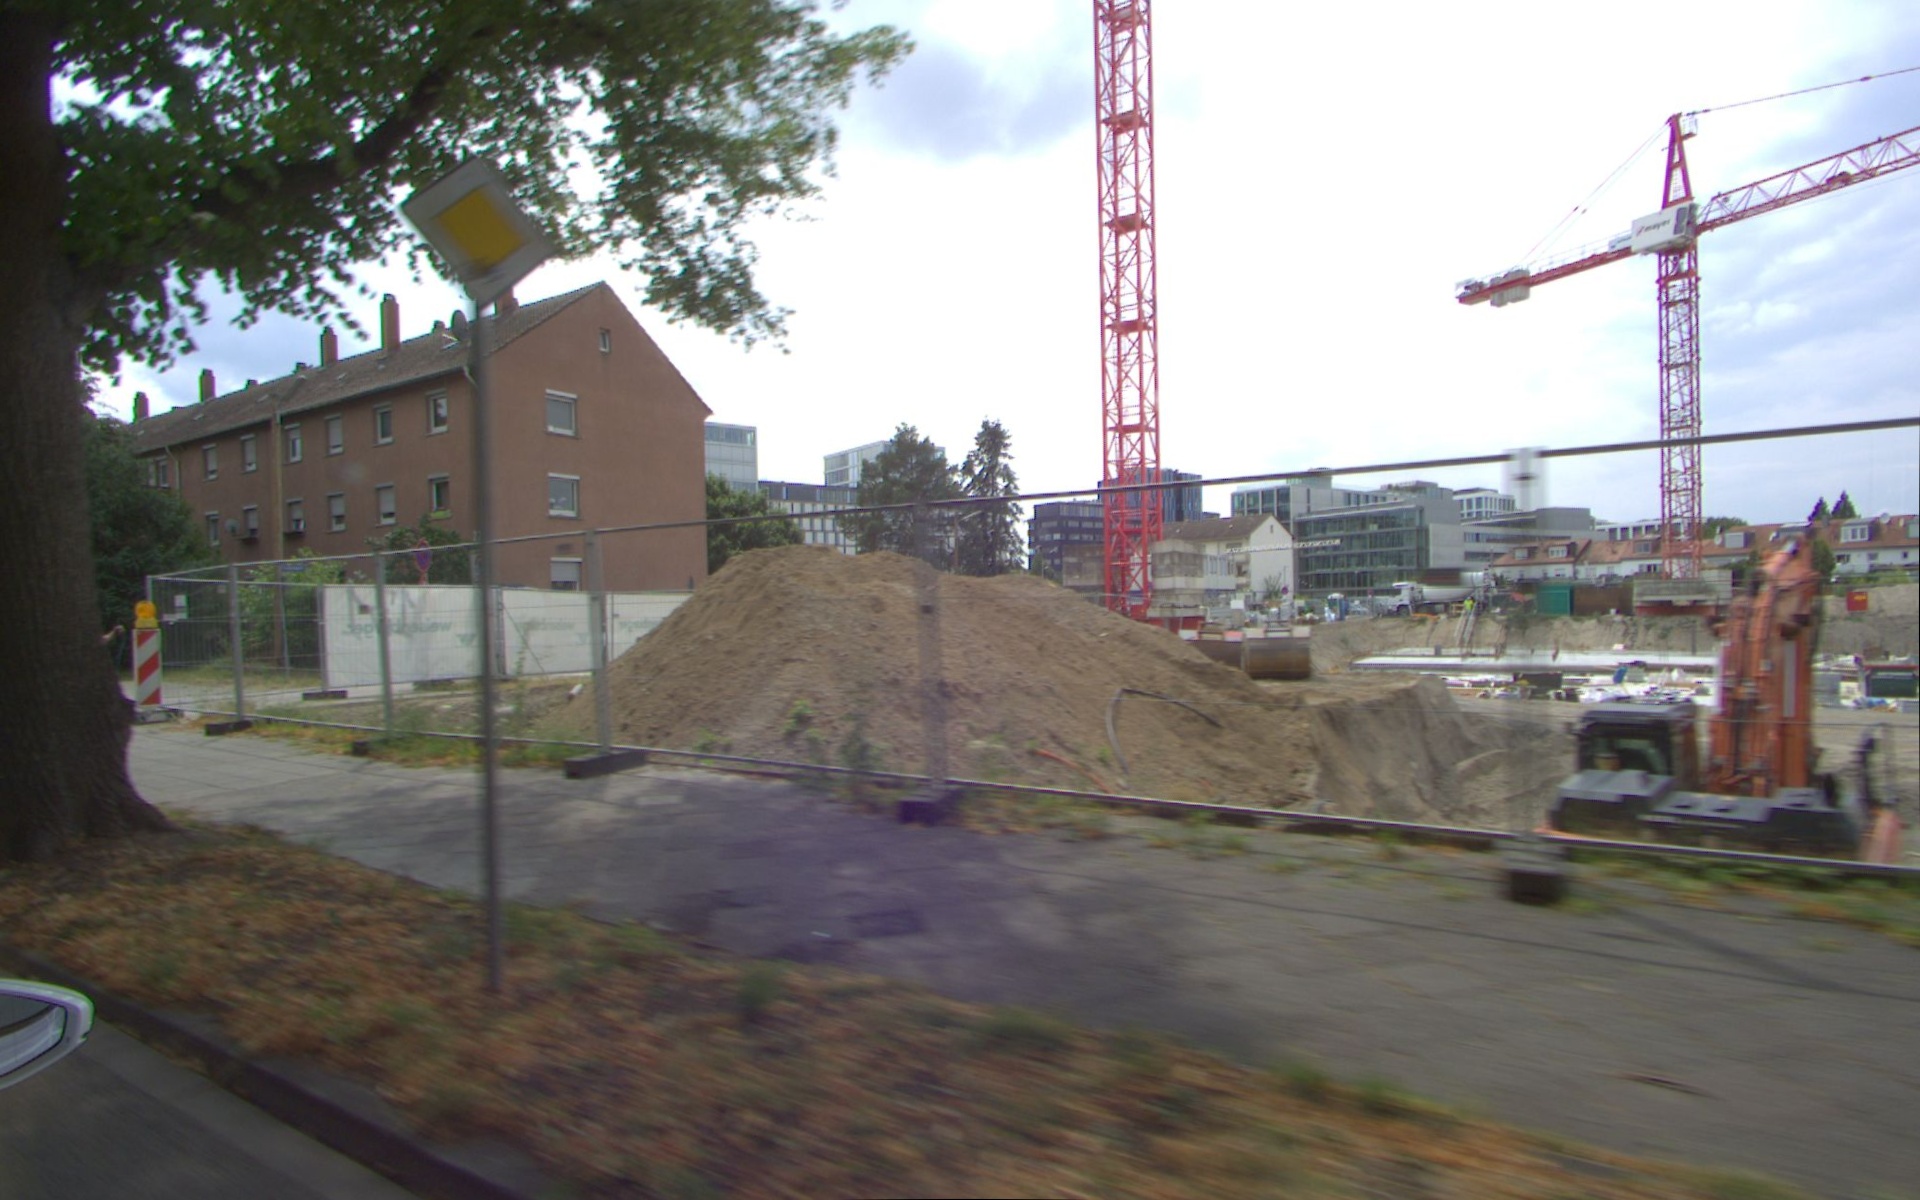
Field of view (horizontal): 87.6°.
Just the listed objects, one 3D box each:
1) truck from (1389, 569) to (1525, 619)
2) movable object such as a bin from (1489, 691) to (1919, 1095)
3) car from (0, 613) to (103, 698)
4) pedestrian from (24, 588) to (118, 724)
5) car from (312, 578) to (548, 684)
[{"bbox_3d":[43.483,-0.468,87.964,10.159,4.189,3.320,-1,2,44],"label":"truck"},{"bbox_3d":[8.170,2.599,10.737,4.649,2.625,3.103,-3,2,-44],"label":"movable object such as a bin"},{"bbox_3d":[-18.087,1.050,17.483,1.984,1.461,4.359,-3,-1,34],"label":"car"},{"bbox_3d":[-12.700,0.773,14.334,0.875,1.839,0.881,-3,2,-39],"label":"pedestrian"},{"bbox_3d":[-14.713,0.752,28.157,2.303,2.668,5.457,2,2,34],"label":"car"}]
